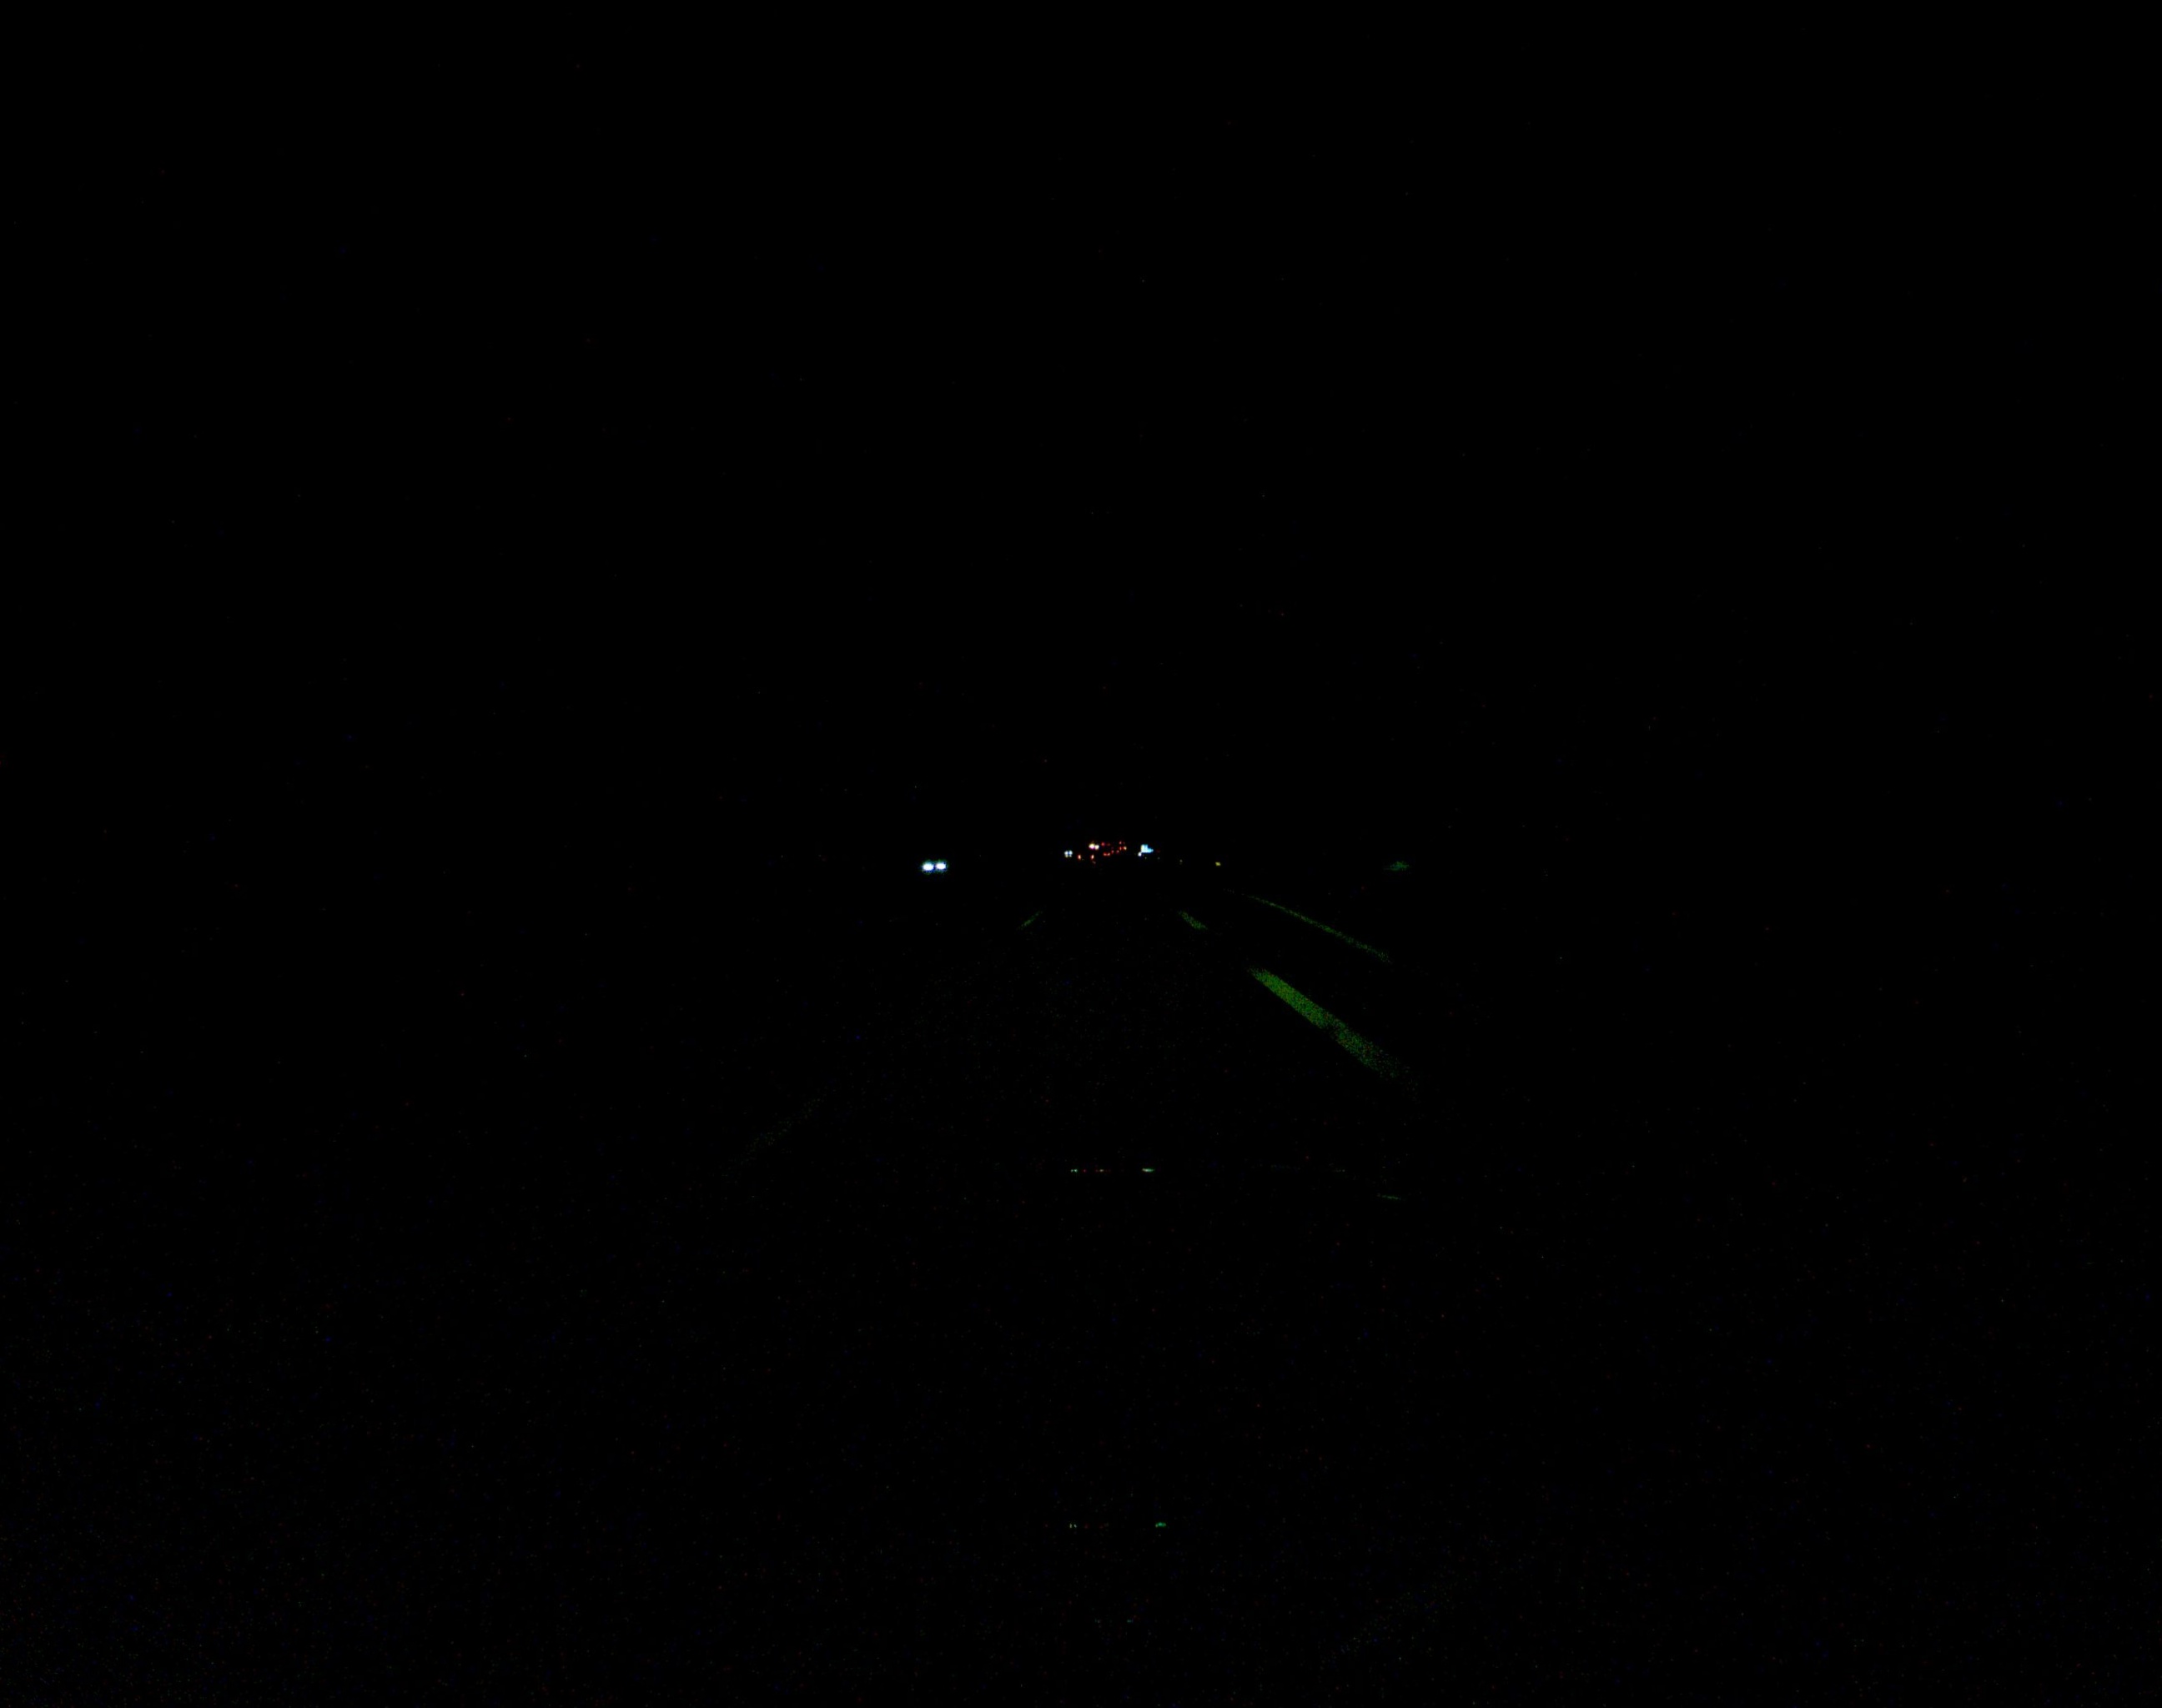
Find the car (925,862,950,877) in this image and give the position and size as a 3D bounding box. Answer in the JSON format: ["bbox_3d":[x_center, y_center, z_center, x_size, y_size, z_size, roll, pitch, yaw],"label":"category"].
[{"bbox_3d":[-17.404,1.909,99.147,1.986,1.745,5.073,0,0,2],"label":"car"}]

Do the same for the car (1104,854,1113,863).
[{"bbox_3d":[8.599,1.541,258.853,2.776,2.733,6.301,-1,-1,2],"label":"car"}]

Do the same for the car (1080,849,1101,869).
[{"bbox_3d":[1.290,0.739,114.345,2.778,2.733,6.297,-1,-1,0],"label":"car"}]
